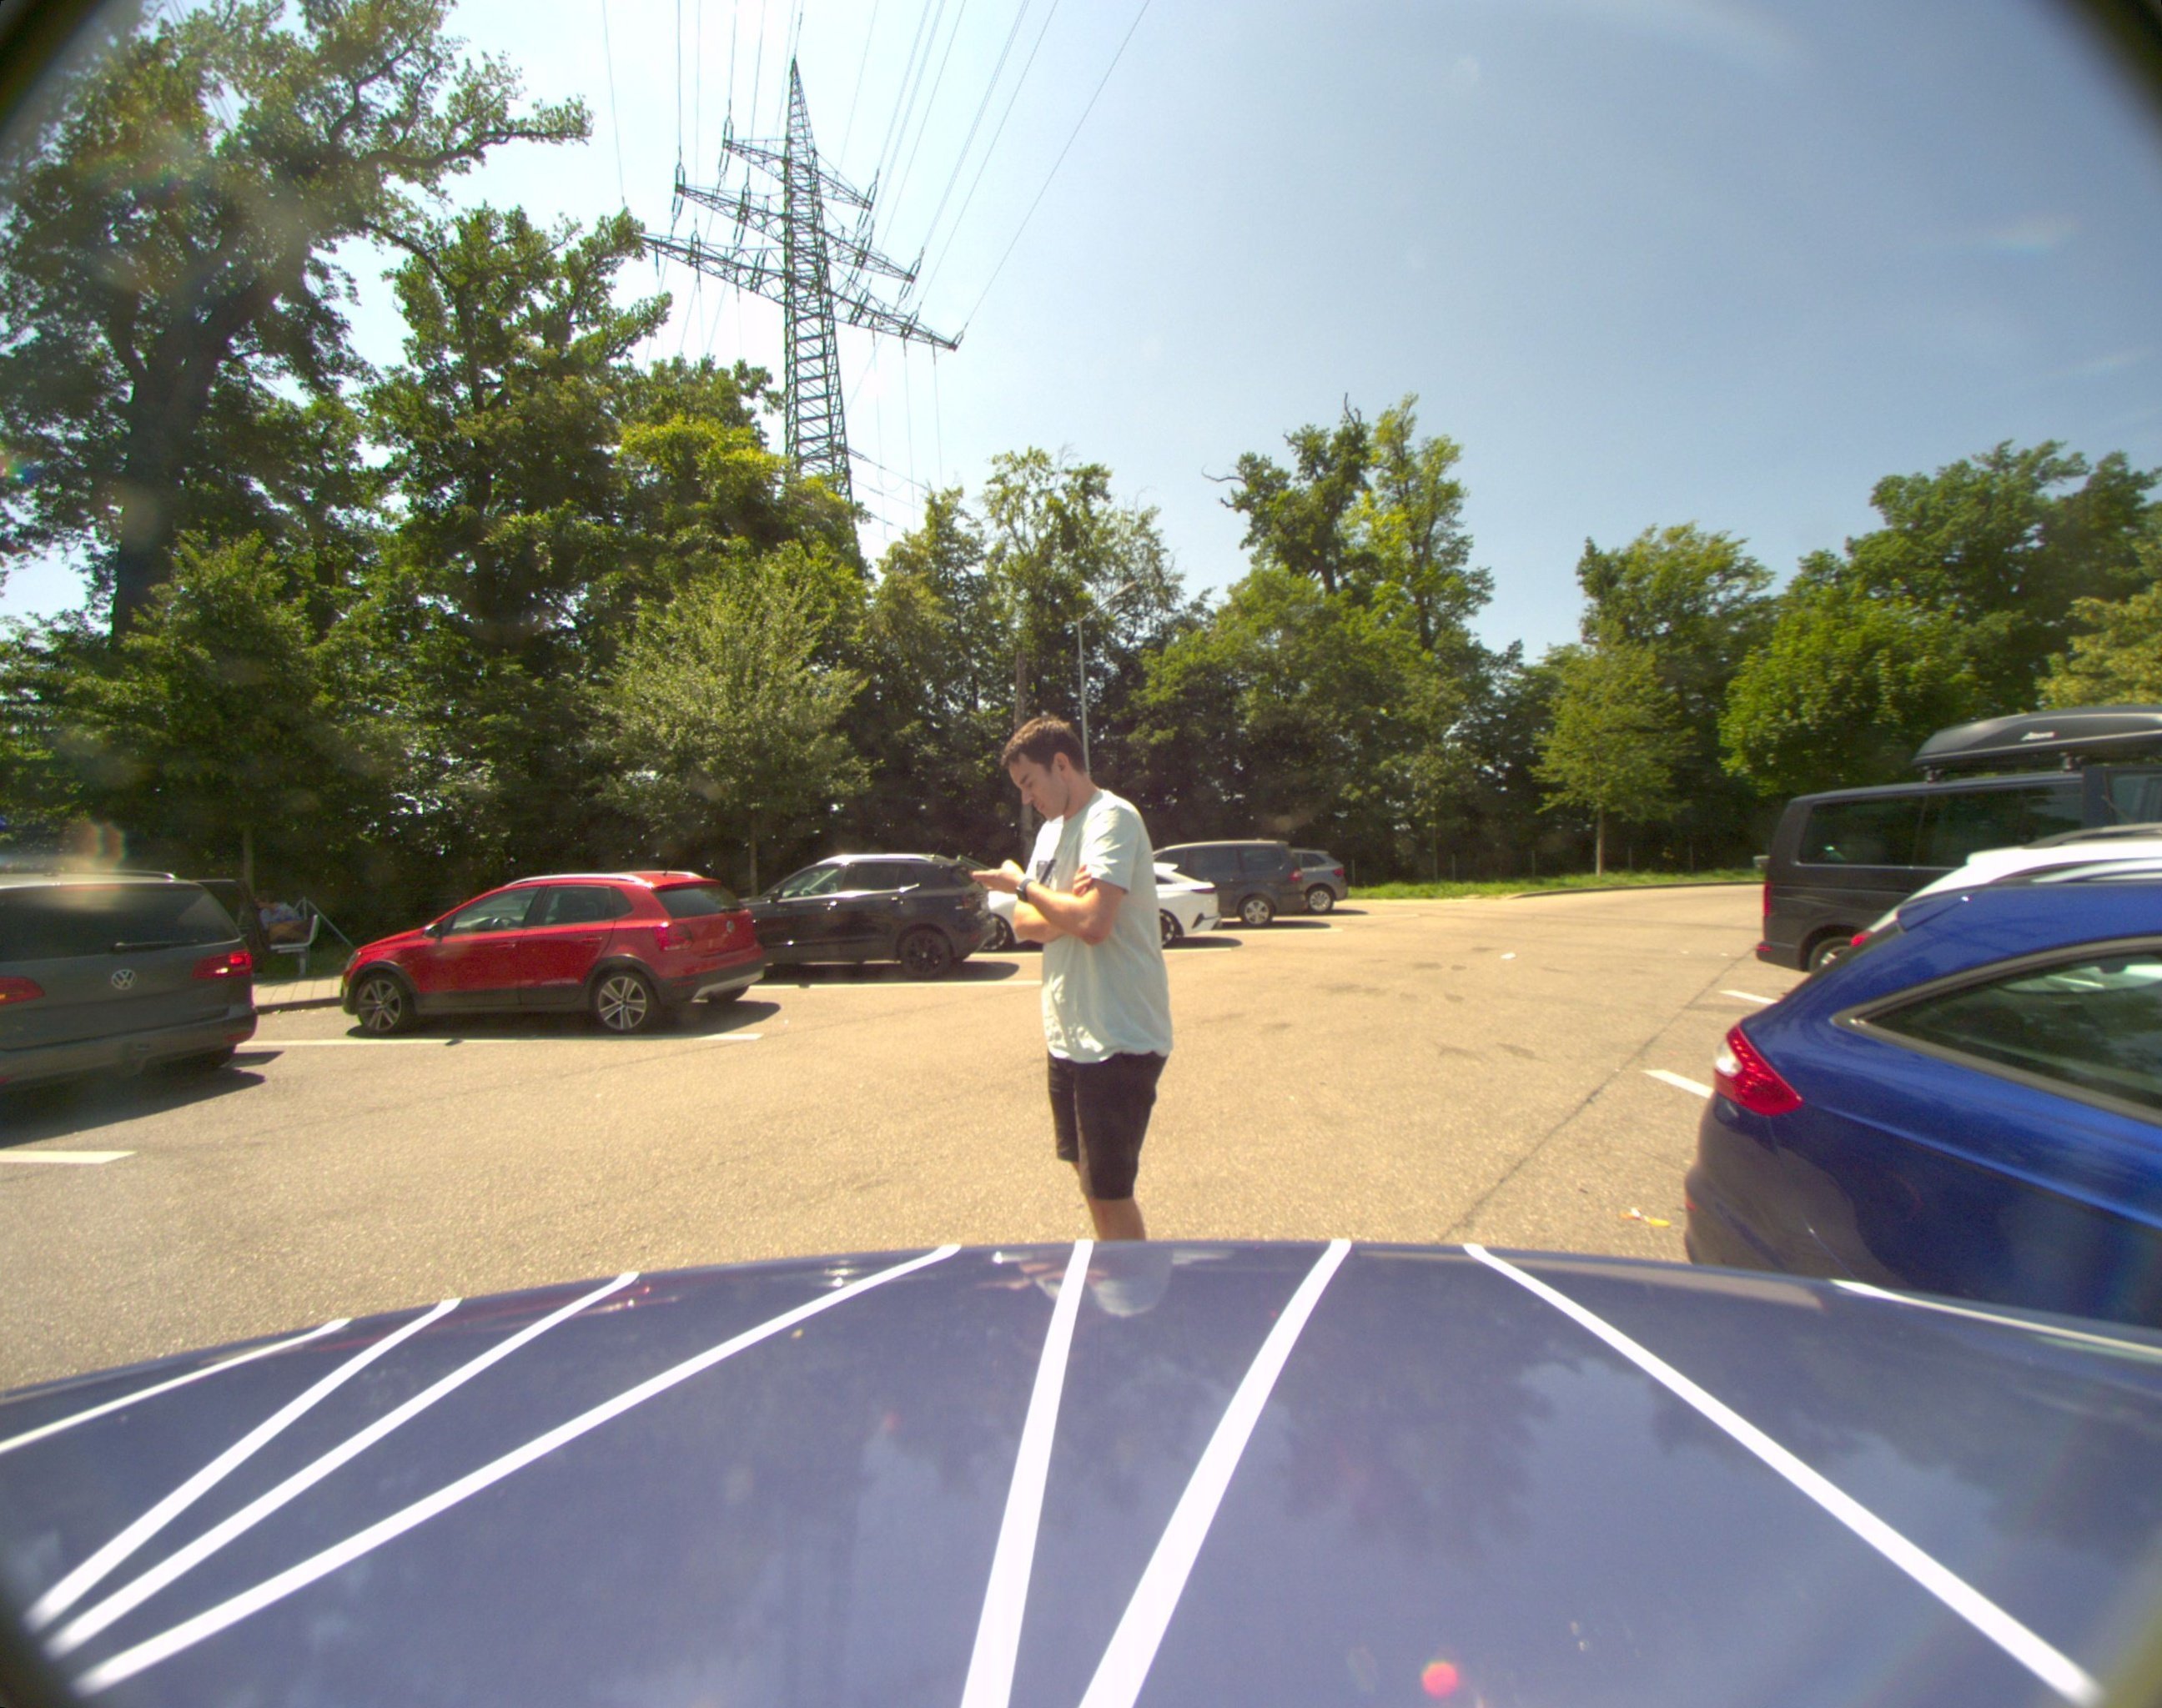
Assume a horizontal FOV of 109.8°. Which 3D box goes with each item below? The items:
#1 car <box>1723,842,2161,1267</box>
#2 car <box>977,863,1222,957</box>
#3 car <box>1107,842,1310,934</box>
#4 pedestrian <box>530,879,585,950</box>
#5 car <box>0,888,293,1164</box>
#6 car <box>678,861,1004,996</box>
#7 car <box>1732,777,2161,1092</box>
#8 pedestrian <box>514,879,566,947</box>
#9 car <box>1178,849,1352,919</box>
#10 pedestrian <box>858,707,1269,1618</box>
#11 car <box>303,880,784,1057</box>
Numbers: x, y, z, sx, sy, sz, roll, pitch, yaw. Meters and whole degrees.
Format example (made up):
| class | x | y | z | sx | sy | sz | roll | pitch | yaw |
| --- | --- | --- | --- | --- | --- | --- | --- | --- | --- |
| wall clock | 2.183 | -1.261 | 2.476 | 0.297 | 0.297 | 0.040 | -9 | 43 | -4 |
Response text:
| class | x | y | z | sx | sy | sz | roll | pitch | yaw |
| --- | --- | --- | --- | --- | --- | --- | --- | --- | --- |
| car | 4.864 | 0.723 | 2.309 | 1.741 | 1.524 | 4.642 | -3 | -1 | -2 |
| car | 0.355 | 0.897 | 12.751 | 3.819 | 1.377 | 1.722 | -1 | 1 | 6 |
| car | 2.578 | 0.665 | 15.477 | 3.818 | 1.714 | 1.722 | -1 | 1 | 12 |
| pedestrian | -10.023 | 1.136 | 14.539 | 0.782 | 1.287 | 0.670 | -1 | 2 | 45 |
| car | -8.301 | 1.104 | 5.465 | 3.985 | 1.572 | 1.749 | -1 | 1 | 12 |
| car | -3.076 | 0.934 | 10.286 | 3.787 | 1.564 | 1.721 | -1 | 1 | 2 |
| car | 7.312 | 0.435 | 4.938 | 1.961 | 1.858 | 4.642 | -3 | -1 | -3 |
| pedestrian | -10.909 | 1.161 | 15.332 | 0.782 | 1.287 | 0.670 | -1 | 2 | 45 |
| car | 4.330 | 0.687 | 18.180 | 3.818 | 1.530 | 1.722 | -1 | 1 | 12 |
| pedestrian | -0.081 | 0.622 | 2.054 | 0.623 | 1.831 | 0.888 | -3 | 2 | -40 |
| car | -5.248 | 1.064 | 7.675 | 3.785 | 1.457 | 1.722 | -1 | 1 | 9 |
